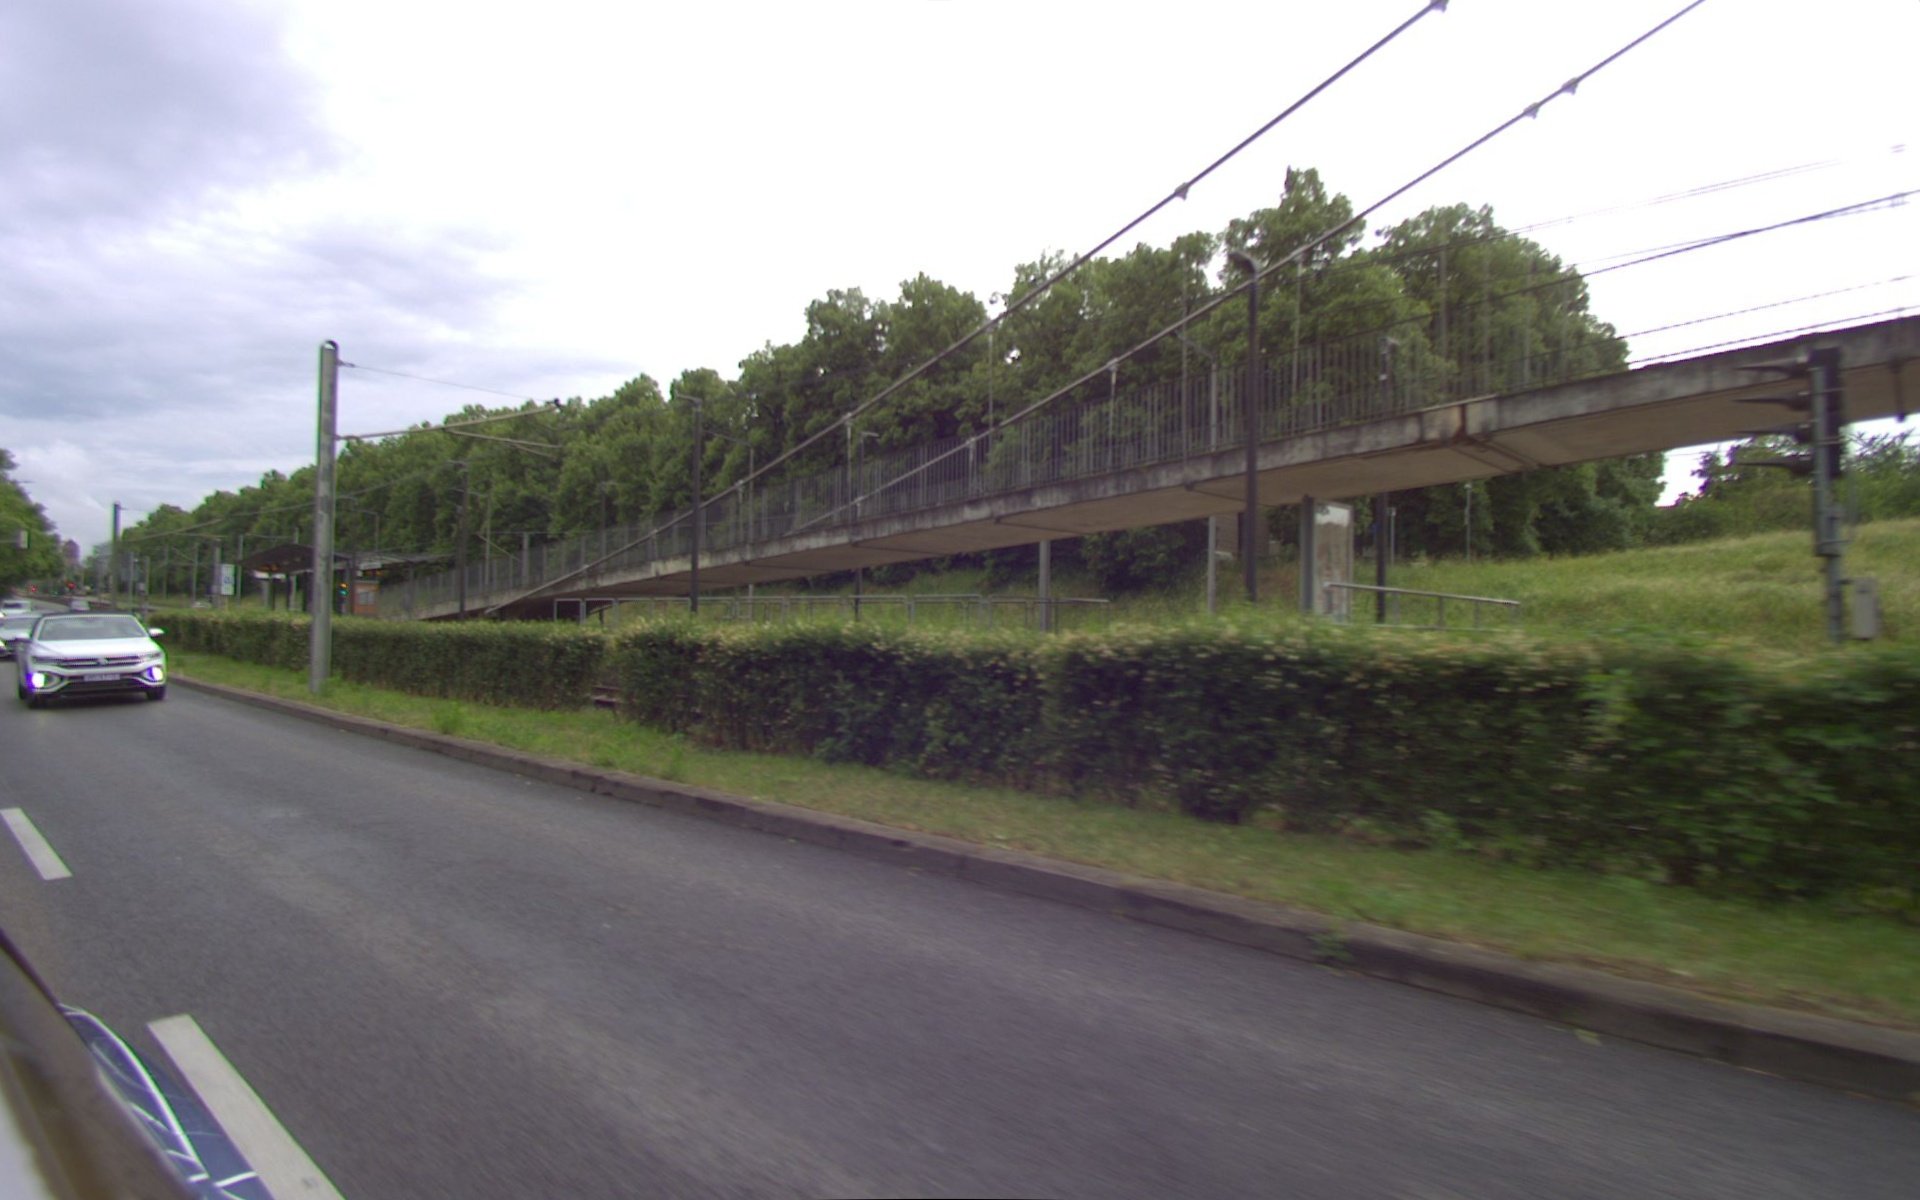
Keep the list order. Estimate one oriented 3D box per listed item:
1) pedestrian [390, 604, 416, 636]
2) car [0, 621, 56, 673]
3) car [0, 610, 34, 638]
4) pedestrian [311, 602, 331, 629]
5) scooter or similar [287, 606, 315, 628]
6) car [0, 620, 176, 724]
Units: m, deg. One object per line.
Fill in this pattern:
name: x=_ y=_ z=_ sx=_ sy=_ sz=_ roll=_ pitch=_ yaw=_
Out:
pedestrian: x=-28.456 y=1.033 z=51.674 sx=0.924 sy=1.623 sz=1.028 roll=1 pitch=-1 yaw=-43
car: x=-30.646 y=1.485 z=32.785 sx=1.931 sy=1.492 sz=4.706 roll=-1 pitch=1 yaw=-41
car: x=-71.078 y=1.773 z=76.118 sx=1.931 sy=1.940 sz=4.852 roll=-1 pitch=1 yaw=-41
pedestrian: x=-33.609 y=0.814 z=53.230 sx=0.744 sy=1.366 sz=0.693 roll=1 pitch=-1 yaw=-44
scooter or similar: x=-36.331 y=0.929 z=55.795 sx=1.283 sy=1.227 sz=0.379 roll=0 pitch=1 yaw=3
car: x=-15.374 y=1.139 z=17.722 sx=4.701 sy=1.476 sz=1.933 roll=-1 pitch=1 yaw=44
